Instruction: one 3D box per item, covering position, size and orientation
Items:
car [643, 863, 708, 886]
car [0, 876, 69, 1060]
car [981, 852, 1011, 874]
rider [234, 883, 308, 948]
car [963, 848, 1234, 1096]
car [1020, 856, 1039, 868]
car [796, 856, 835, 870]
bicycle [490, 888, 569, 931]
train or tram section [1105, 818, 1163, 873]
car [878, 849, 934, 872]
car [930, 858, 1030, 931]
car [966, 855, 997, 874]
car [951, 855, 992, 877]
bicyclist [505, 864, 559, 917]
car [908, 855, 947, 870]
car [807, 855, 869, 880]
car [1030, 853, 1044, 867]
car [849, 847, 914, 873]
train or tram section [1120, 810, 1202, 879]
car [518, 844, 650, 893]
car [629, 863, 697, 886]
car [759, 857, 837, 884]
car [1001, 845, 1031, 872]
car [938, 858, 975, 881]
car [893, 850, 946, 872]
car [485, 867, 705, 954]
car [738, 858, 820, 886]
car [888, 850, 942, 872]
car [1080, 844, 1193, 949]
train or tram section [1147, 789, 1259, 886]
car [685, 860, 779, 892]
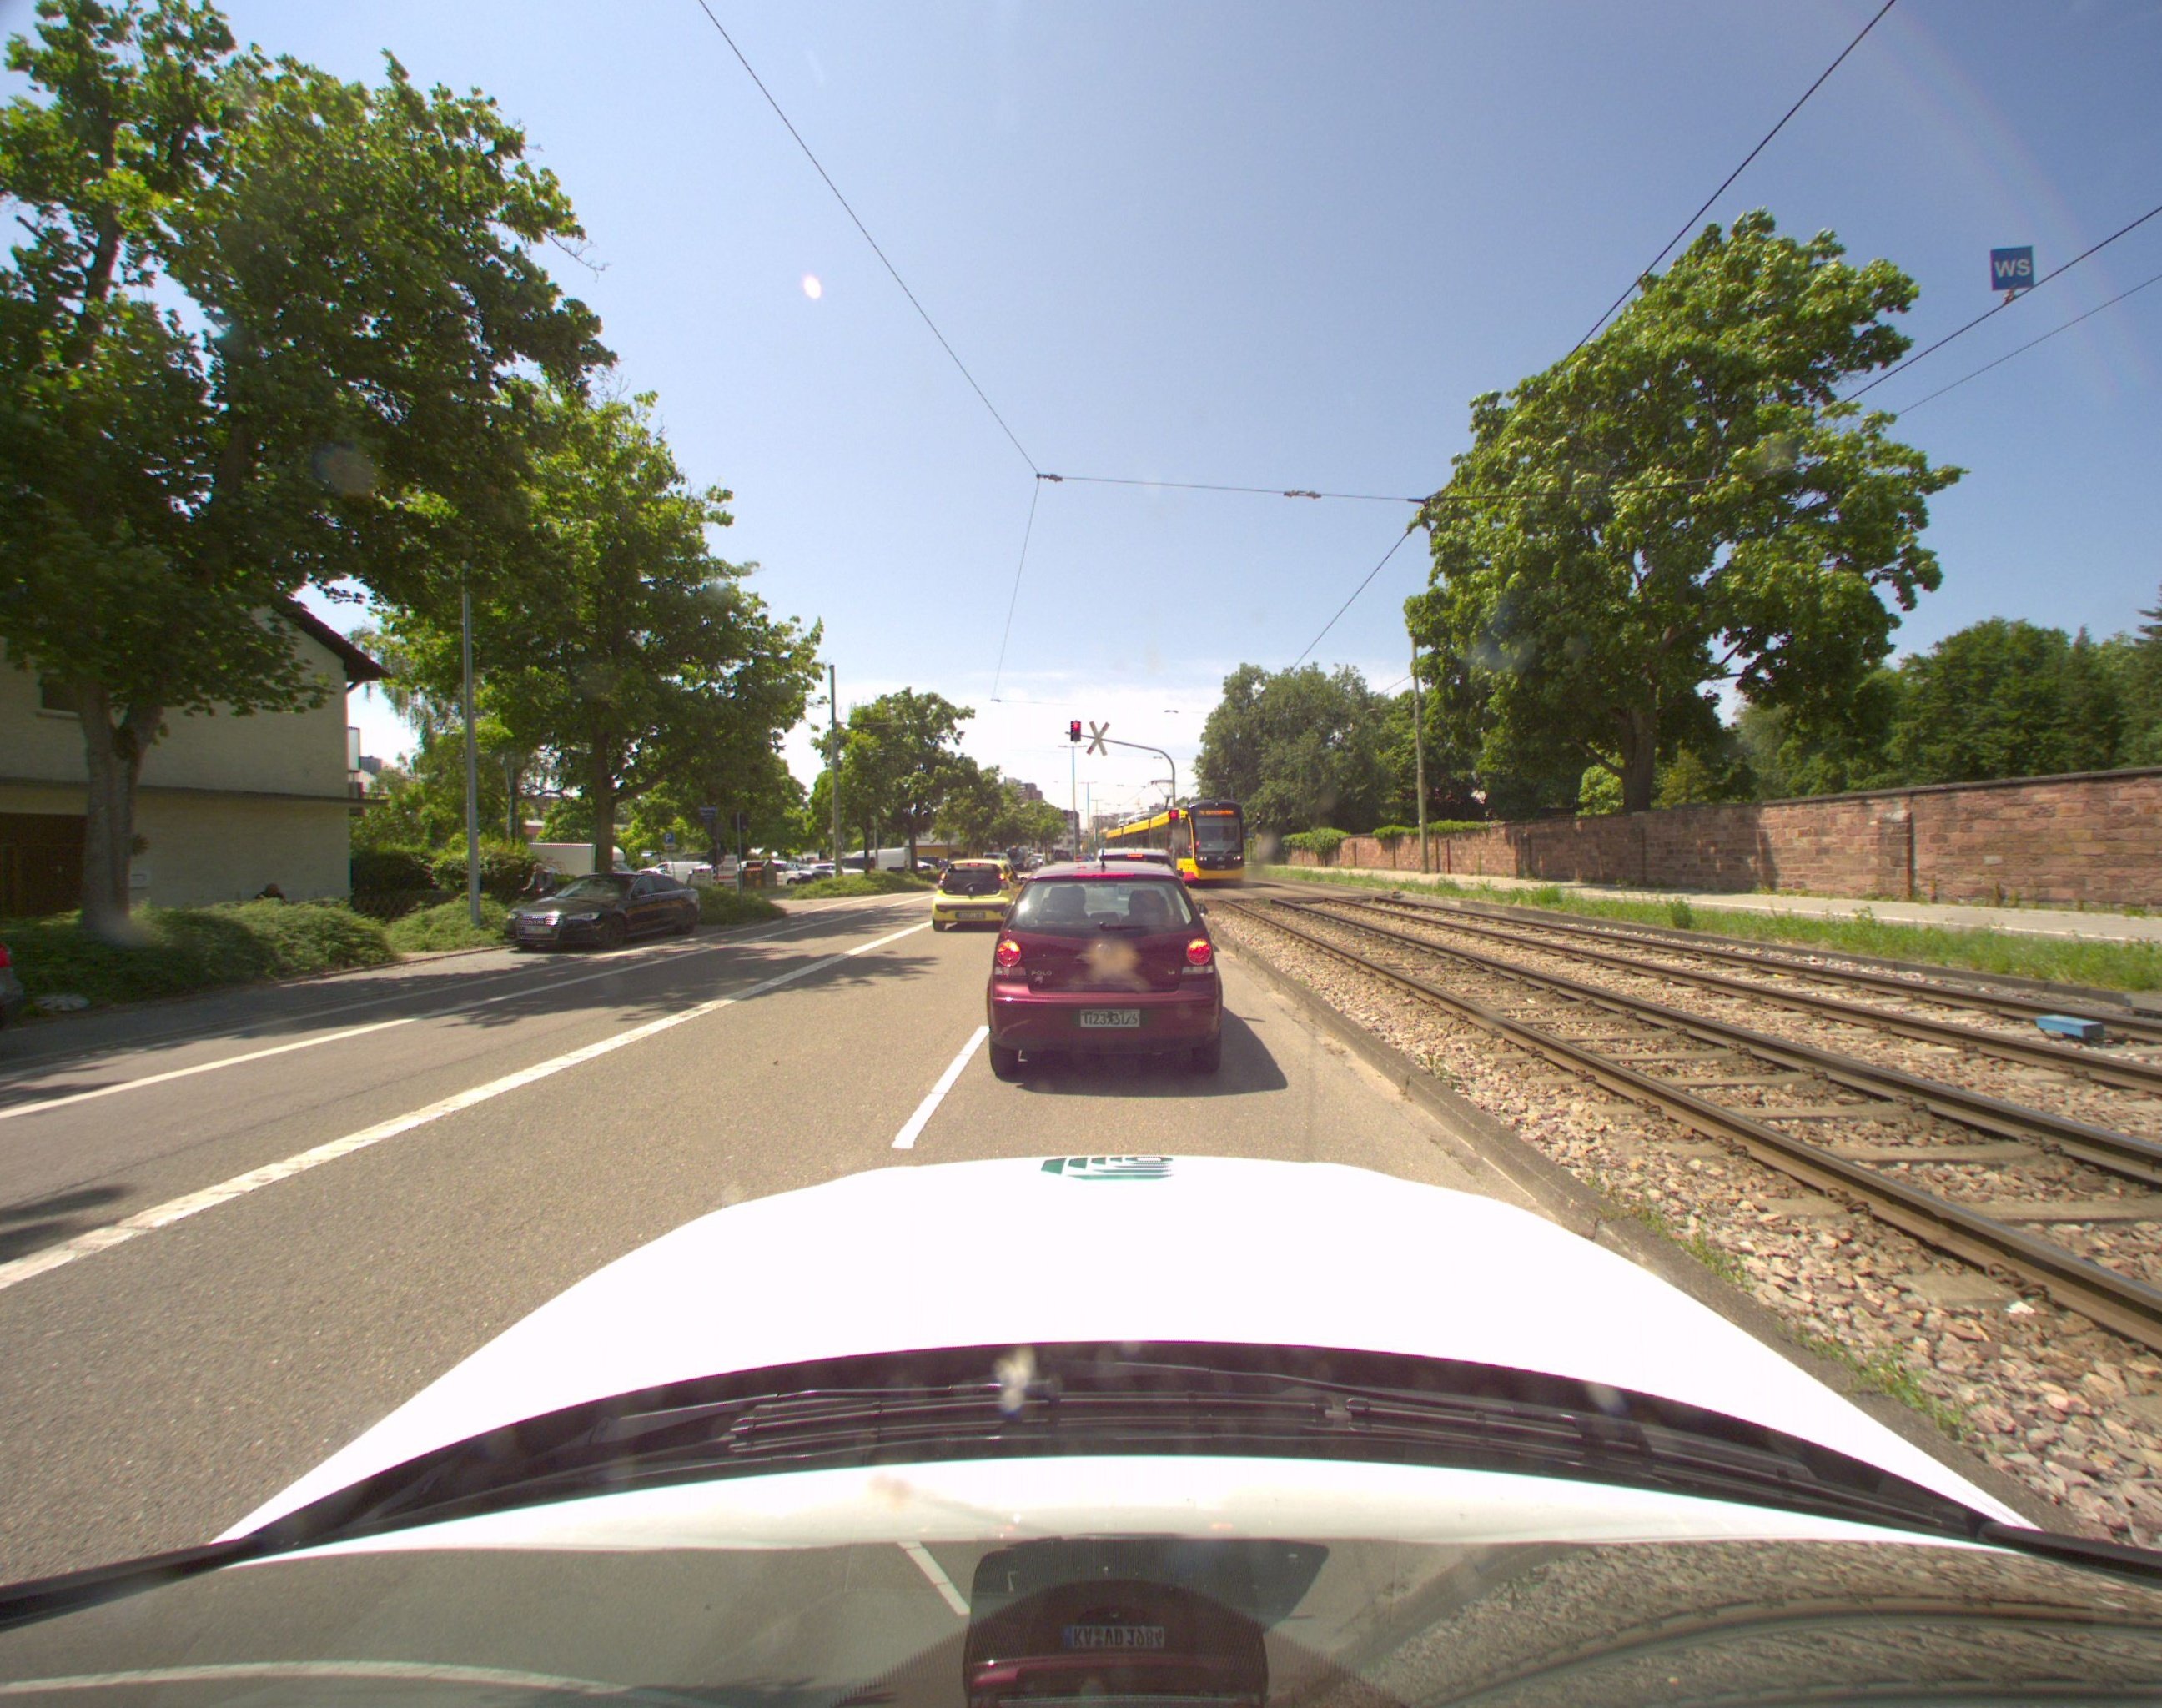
[{"bbox_3d":[-30.687,1.524,61.734,3.982,1.653,1.812,1,-1,-7],"label":"car"},{"bbox_3d":[-10.244,0.992,5.384,1.812,1.564,4.182,0,0,1],"label":"car"},{"bbox_3d":[-7.446,0.778,71.547,1.774,1.881,4.791,0,-1,5],"label":"car"},{"bbox_3d":[-17.970,1.355,18.085,0.820,1.374,0.814,-2,0,10],"label":"rider"},{"bbox_3d":[0.150,0.720,7.016,1.666,1.521,4.001,0,0,1],"label":"car"},{"bbox_3d":[-6.403,1.042,101.602,1.606,1.441,4.006,0,-1,5],"label":"car"},{"bbox_3d":[-31.570,1.026,96.939,4.006,1.617,1.816,1,-1,0],"label":"car"},{"bbox_3d":[-14.497,1.440,21.483,0.697,1.030,1.831,0,-1,5],"label":"bicycle"},{"bbox_3d":[3.657,-0.576,59.065,2.735,3.609,10.934,1,0,-4],"label":"train or tram section"},{"bbox_3d":[-17.727,0.693,82.884,5.076,2.244,2.380,1,-1,3],"label":"car"},{"bbox_3d":[-2.100,0.810,17.792,1.684,1.411,3.516,0,0,1],"label":"car"},{"bbox_3d":[-8.004,0.867,65.876,1.606,1.441,4.006,0,-1,5],"label":"car"},{"bbox_3d":[-8.219,0.889,61.318,1.965,1.601,4.566,0,-1,6],"label":"car"},{"bbox_3d":[-14.471,0.950,21.486,0.805,1.374,0.829,0,-1,5],"label":"bicyclist"},{"bbox_3d":[-17.398,0.951,92.355,4.004,1.617,1.818,1,-1,3],"label":"car"},{"bbox_3d":[-18.177,1.009,61.109,3.973,1.746,1.998,-2,0,0],"label":"car"},{"bbox_3d":[-5.875,0.808,107.861,1.771,1.828,3.995,1,-1,-3],"label":"car"},{"bbox_3d":[-17.484,0.551,71.543,5.076,2.244,2.380,1,-1,3],"label":"car"},{"bbox_3d":[4.514,-0.511,48.545,2.737,3.609,10.928,1,0,-6],"label":"train or tram section"},{"bbox_3d":[-31.442,0.914,51.715,6.828,2.965,2.364,1,-1,0],"label":"car"},{"bbox_3d":[-30.413,1.499,59.355,3.982,1.653,1.812,1,-1,-7],"label":"car"},{"bbox_3d":[-18.411,1.088,53.075,4.319,1.585,1.917,-2,0,8],"label":"car"},{"bbox_3d":[-6.692,0.452,84.584,2.352,2.692,5.311,1,-1,3],"label":"car"},{"bbox_3d":[-8.327,1.017,54.766,1.655,1.497,4.004,1,-1,4],"label":"car"},{"bbox_3d":[-17.422,0.756,88.032,5.076,2.244,2.380,1,-1,3],"label":"car"},{"bbox_3d":[-9.863,1.061,17.024,1.812,1.476,4.450,0,0,1],"label":"car"},{"bbox_3d":[-18.621,1.098,50.299,4.319,1.585,1.917,-2,0,7],"label":"car"},{"bbox_3d":[-17.368,0.725,85.349,5.076,2.244,2.380,1,-1,3],"label":"car"},{"bbox_3d":[0.906,0.662,14.757,1.770,1.647,4.001,0,0,1],"label":"car"},{"bbox_3d":[5.116,-0.646,37.012,2.734,3.609,12.860,1,0,-2],"label":"train or tram section"},{"bbox_3d":[-19.350,1.188,45.282,4.329,1.585,1.912,-2,0,-1],"label":"car"}]
